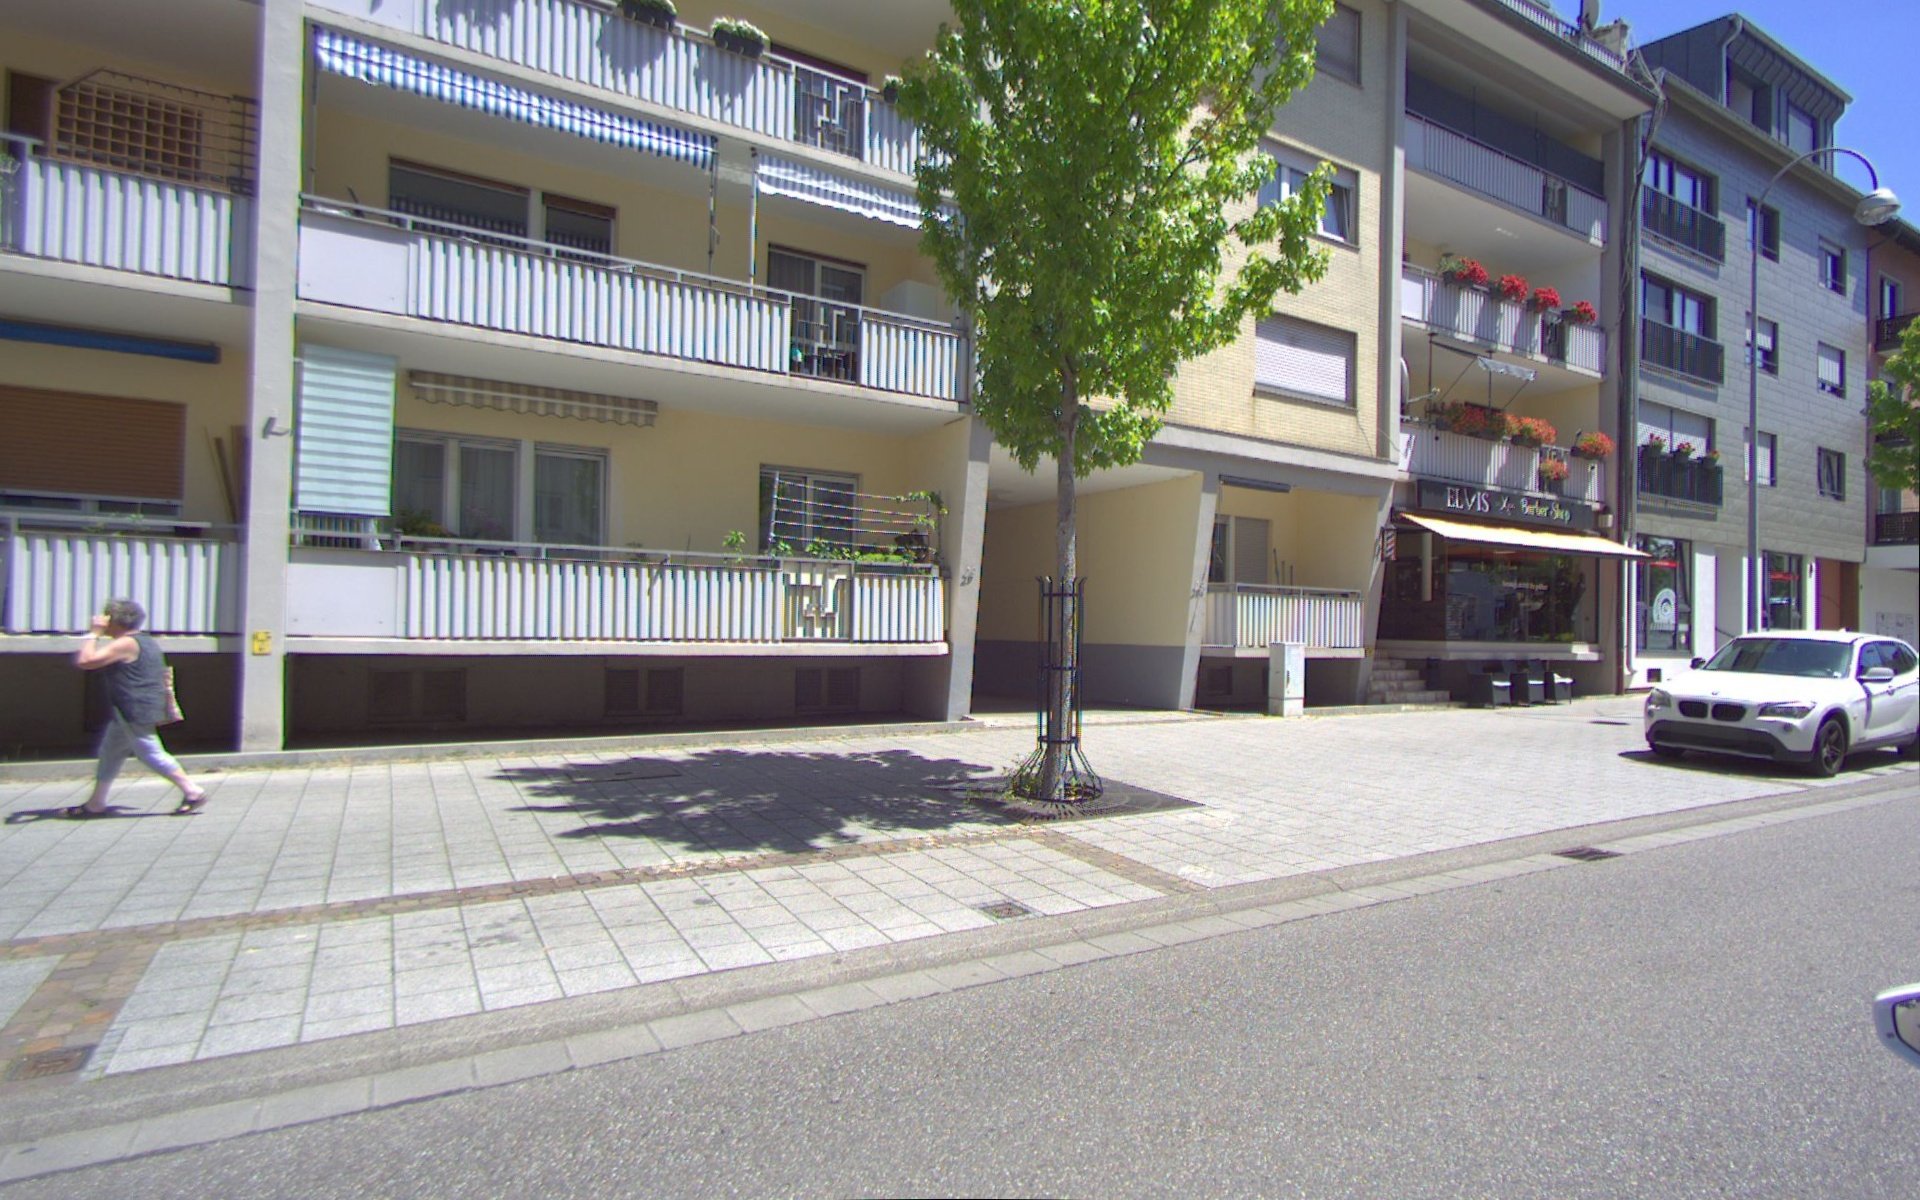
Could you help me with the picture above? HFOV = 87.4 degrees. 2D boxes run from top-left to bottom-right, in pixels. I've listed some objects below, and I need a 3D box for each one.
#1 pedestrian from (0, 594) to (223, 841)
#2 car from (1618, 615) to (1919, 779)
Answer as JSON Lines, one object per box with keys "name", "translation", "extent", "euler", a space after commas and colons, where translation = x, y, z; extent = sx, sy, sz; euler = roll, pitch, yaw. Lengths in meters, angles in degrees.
{"name": "pedestrian", "translation": [-5.702, 0.739, 6.774], "extent": [1.084, 1.512, 0.694], "euler": [1, 1, -31]}
{"name": "car", "translation": [10.141, 1.069, 12.239], "extent": [4.348, 1.640, 1.744], "euler": [2, 0, -30]}
